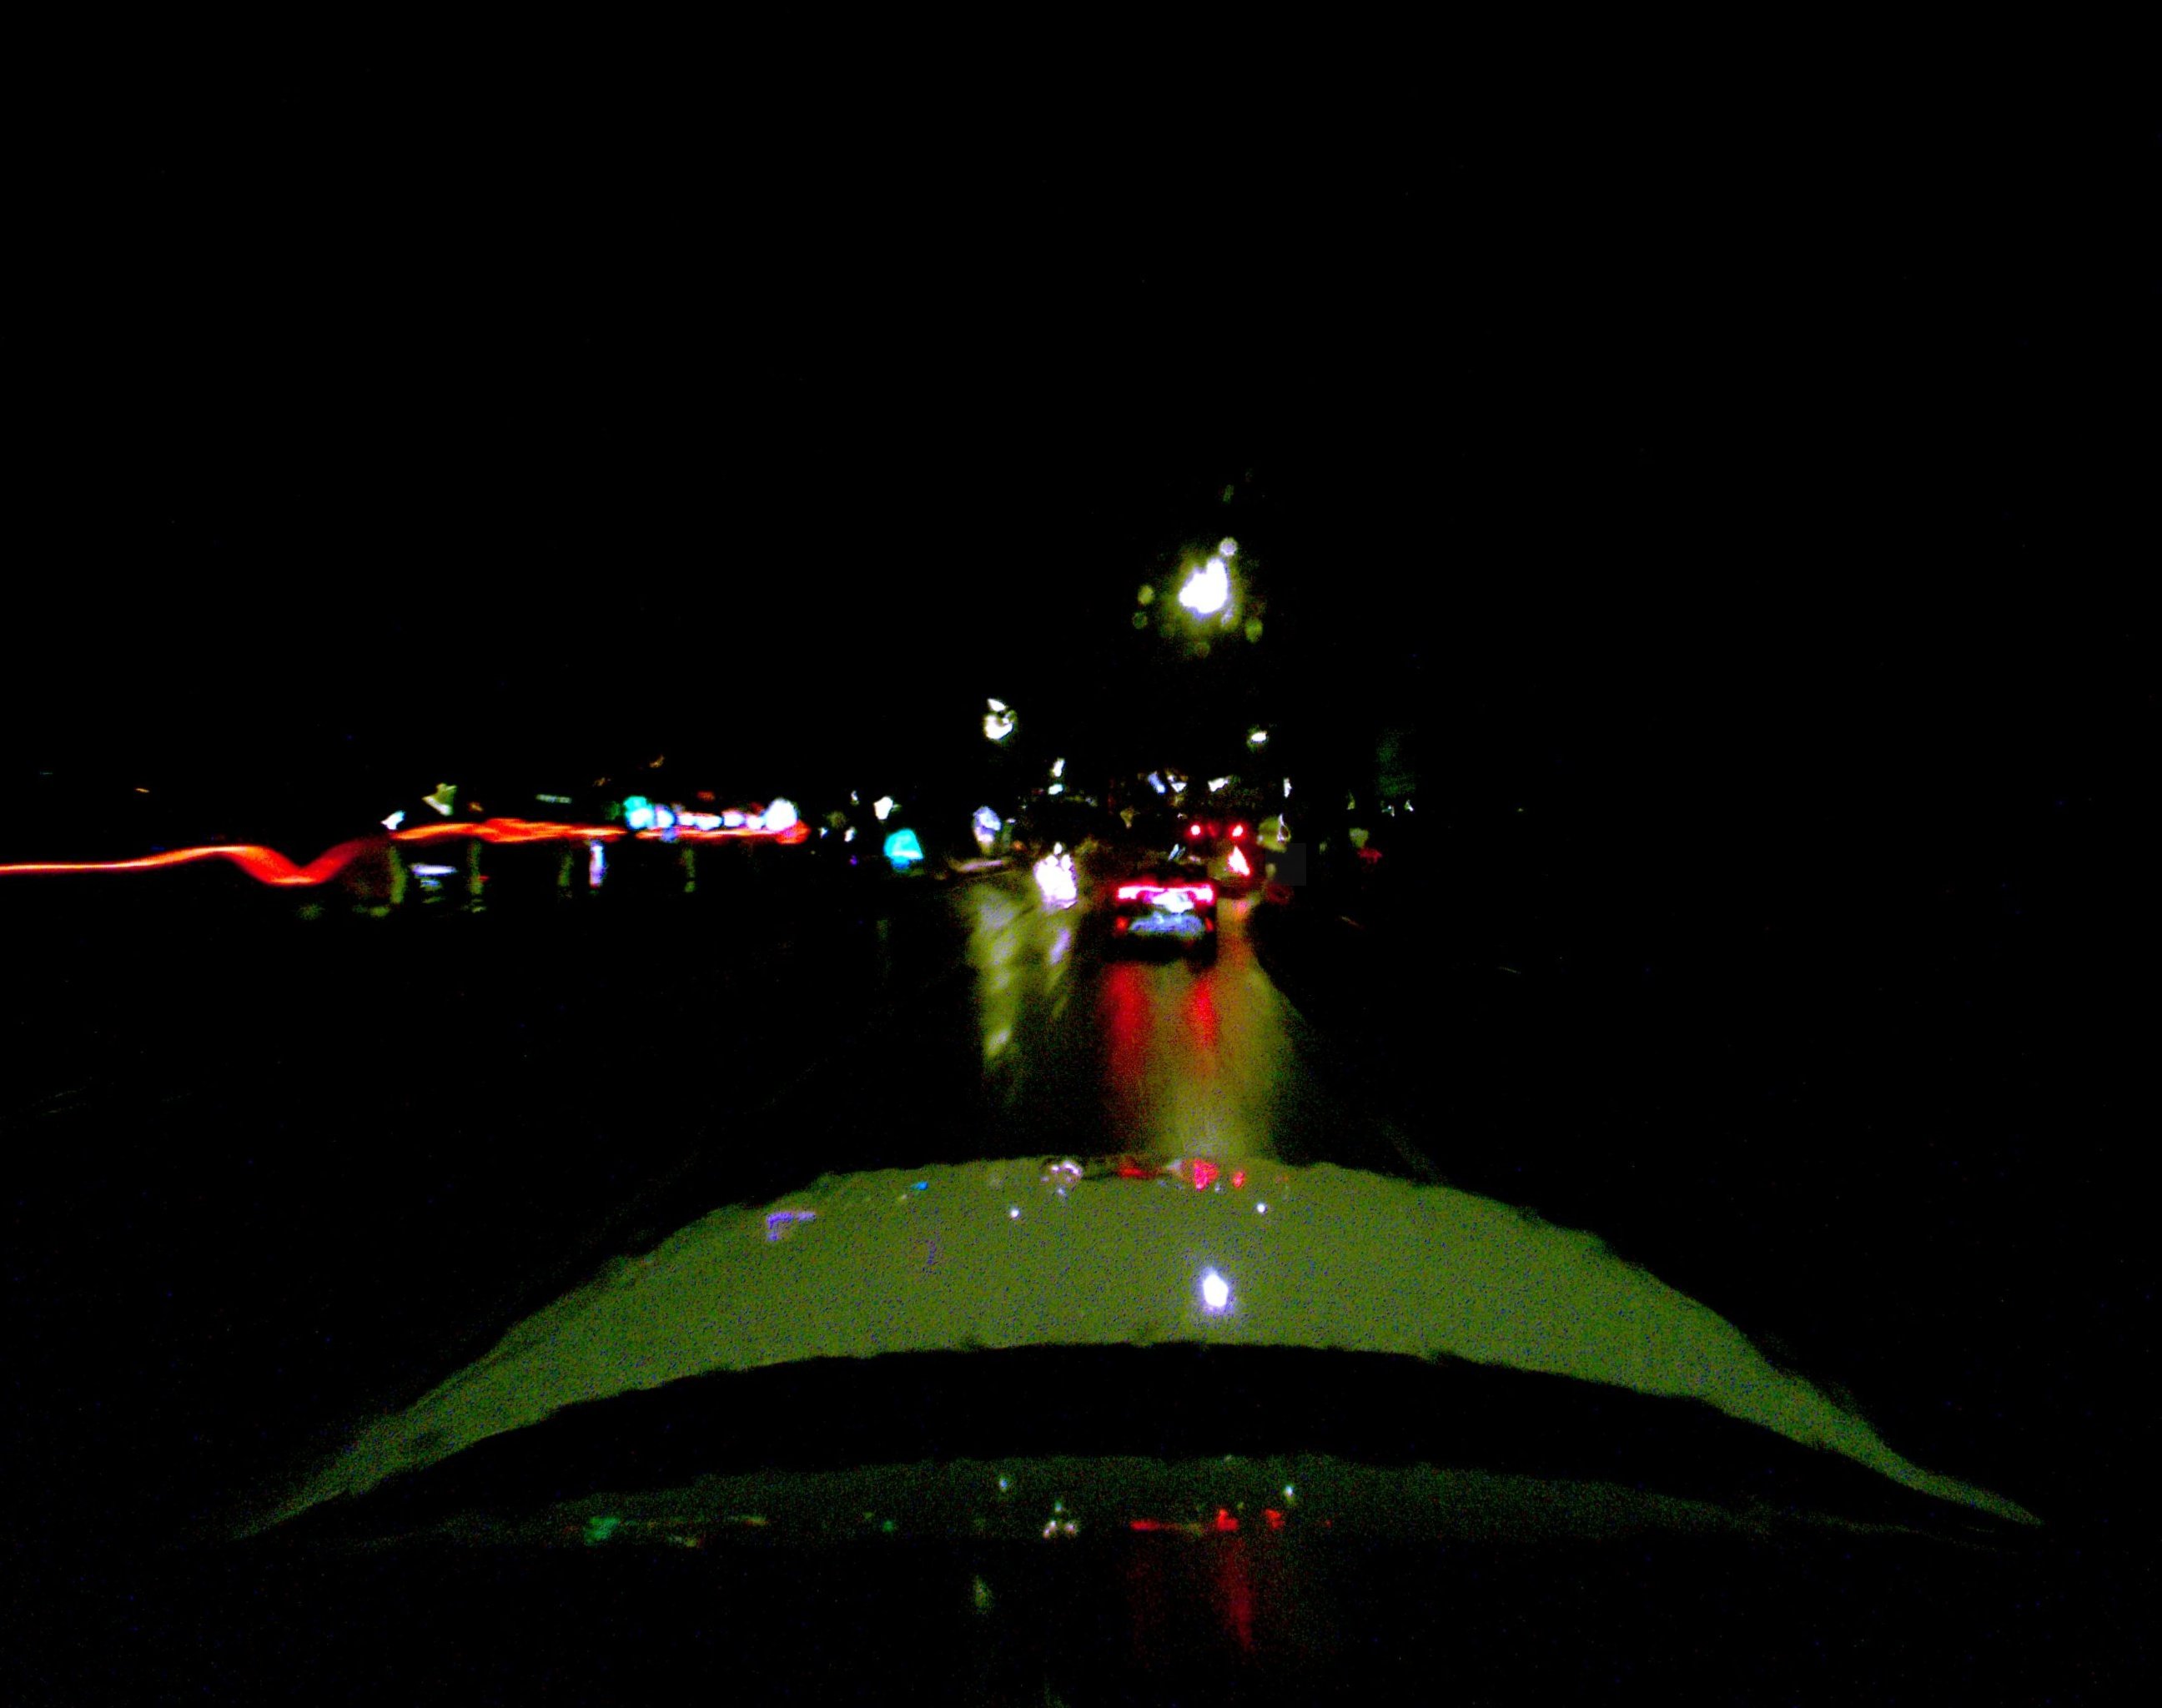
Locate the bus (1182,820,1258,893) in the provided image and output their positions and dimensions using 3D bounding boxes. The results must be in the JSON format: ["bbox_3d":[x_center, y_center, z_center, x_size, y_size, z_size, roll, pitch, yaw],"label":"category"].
[{"bbox_3d":[7.271,0.175,41.448,3.022,3.213,9.084,-2,-1,14],"label":"bus"}]

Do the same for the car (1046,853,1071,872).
[{"bbox_3d":[-1.900,0.724,69.488,1.819,1.503,4.190,0,0,2],"label":"car"}]

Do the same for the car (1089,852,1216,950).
[{"bbox_3d":[1.372,0.748,14.943,1.983,1.524,4.008,-1,0,7],"label":"car"}]

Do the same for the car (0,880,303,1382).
[{"bbox_3d":[-3.987,0.822,1.217,1.819,1.403,4.033,0,0,-2],"label":"car"}]
